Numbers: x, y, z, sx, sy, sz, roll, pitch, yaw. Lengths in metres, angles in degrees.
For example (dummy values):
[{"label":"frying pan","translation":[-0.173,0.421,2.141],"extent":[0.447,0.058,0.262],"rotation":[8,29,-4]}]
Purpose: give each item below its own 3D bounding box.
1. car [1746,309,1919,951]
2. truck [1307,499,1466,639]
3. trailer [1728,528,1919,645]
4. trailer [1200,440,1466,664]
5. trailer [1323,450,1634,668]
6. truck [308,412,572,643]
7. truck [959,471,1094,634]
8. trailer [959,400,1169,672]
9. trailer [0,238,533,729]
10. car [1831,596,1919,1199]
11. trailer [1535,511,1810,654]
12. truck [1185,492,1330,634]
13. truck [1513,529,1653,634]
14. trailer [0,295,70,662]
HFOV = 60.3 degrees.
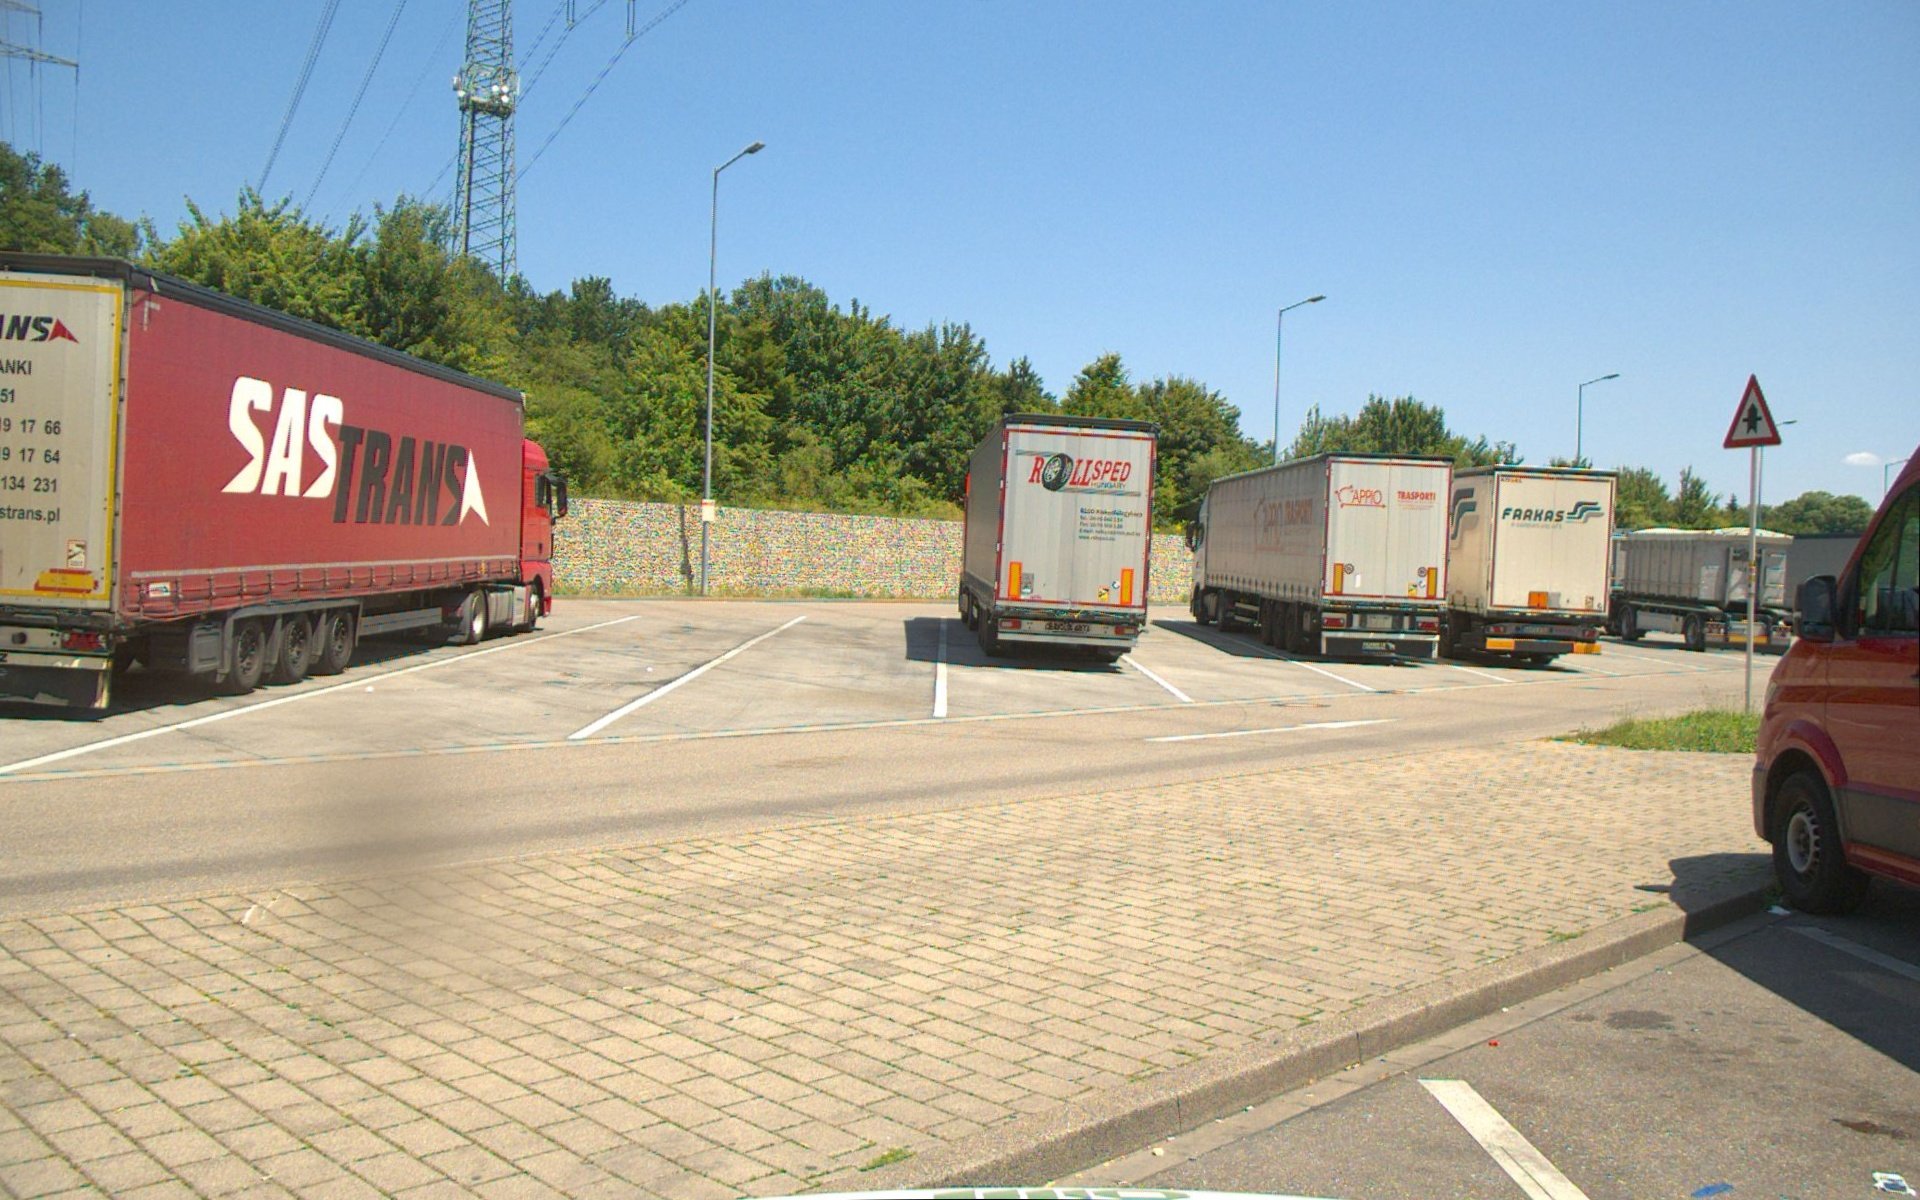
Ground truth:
[{"label":"car","translation":[5.019,0.164,5.571],"extent":[2.023,2.742,6.397],"rotation":[1,1,4]},{"label":"truck","translation":[11.714,-0.890,45.957],"extent":[2.794,3.544,5.482],"rotation":[2,2,-1]},{"label":"trailer","translation":[34.944,-0.638,65.425],"extent":[2.780,4.119,13.726],"rotation":[3,2,1]},{"label":"trailer","translation":[8.217,-1.139,38.839],"extent":[2.781,4.204,13.722],"rotation":[2,2,-1]},{"label":"trailer","translation":[11.776,-1.017,39.645],"extent":[2.781,4.204,13.722],"rotation":[2,2,-1]},{"label":"truck","translation":[-8.786,-1.211,28.632],"extent":[2.794,3.487,5.482],"rotation":[2,2,-1]},{"label":"truck","translation":[1.488,-1.146,39.859],"extent":[2.794,3.544,5.482],"rotation":[2,2,-1]},{"label":"trailer","translation":[1.657,-1.233,33.250],"extent":[2.848,4.204,13.720],"rotation":[2,2,-2]},{"label":"trailer","translation":[-8.672,-1.301,21.196],"extent":[2.848,4.203,13.723],"rotation":[2,2,-1]},{"label":"car","translation":[2.608,0.797,1.166],"extent":[1.703,1.508,3.813],"rotation":[1,1,-6]},{"label":"trailer","translation":[21.933,-0.682,52.220],"extent":[2.780,3.781,13.726],"rotation":[3,2,1]},{"label":"truck","translation":[8.102,-1.039,45.649],"extent":[2.794,3.544,5.482],"rotation":[2,2,-1]},{"label":"truck","translation":[22.013,-0.712,58.724],"extent":[2.794,3.423,5.484],"rotation":[3,2,0]},{"label":"trailer","translation":[-12.516,-1.314,15.713],"extent":[2.673,4.282,10.170],"rotation":[2,2,-1]}]
